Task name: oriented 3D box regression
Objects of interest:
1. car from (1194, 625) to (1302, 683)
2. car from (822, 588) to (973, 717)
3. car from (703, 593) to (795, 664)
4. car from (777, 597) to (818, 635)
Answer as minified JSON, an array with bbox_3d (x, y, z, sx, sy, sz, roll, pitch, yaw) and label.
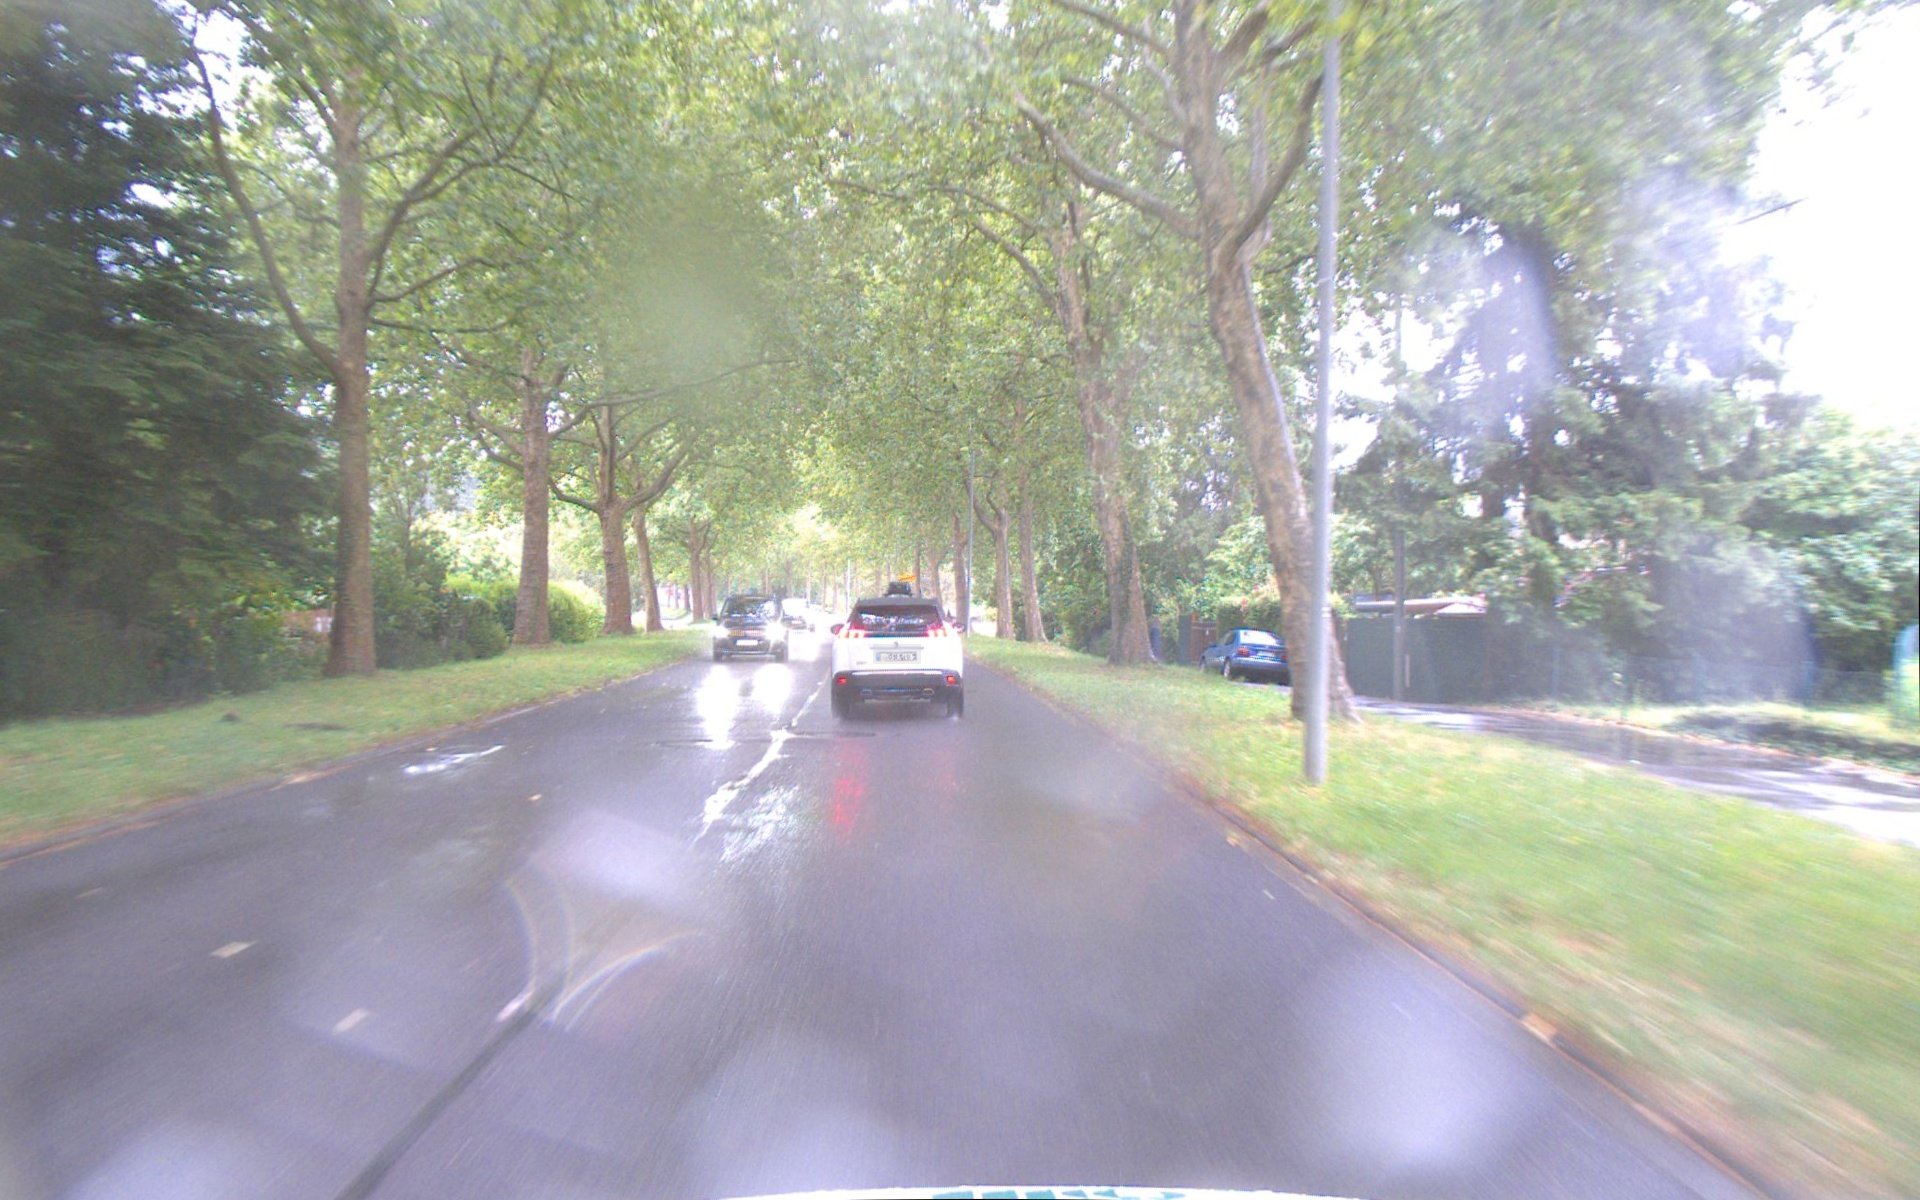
[{"bbox_3d":[7.911,1.452,45.755,1.762,1.348,3.994,5,-1,-7],"label":"car"},{"bbox_3d":[-0.944,0.674,22.844,1.760,1.606,3.838,1,0,-7],"label":"car"},{"bbox_3d":[-5.316,0.694,42.266,1.781,1.683,4.772,1,0,-1],"label":"car"},{"bbox_3d":[-7.995,0.770,81.584,1.772,1.758,4.452,1,0,-3],"label":"car"}]
